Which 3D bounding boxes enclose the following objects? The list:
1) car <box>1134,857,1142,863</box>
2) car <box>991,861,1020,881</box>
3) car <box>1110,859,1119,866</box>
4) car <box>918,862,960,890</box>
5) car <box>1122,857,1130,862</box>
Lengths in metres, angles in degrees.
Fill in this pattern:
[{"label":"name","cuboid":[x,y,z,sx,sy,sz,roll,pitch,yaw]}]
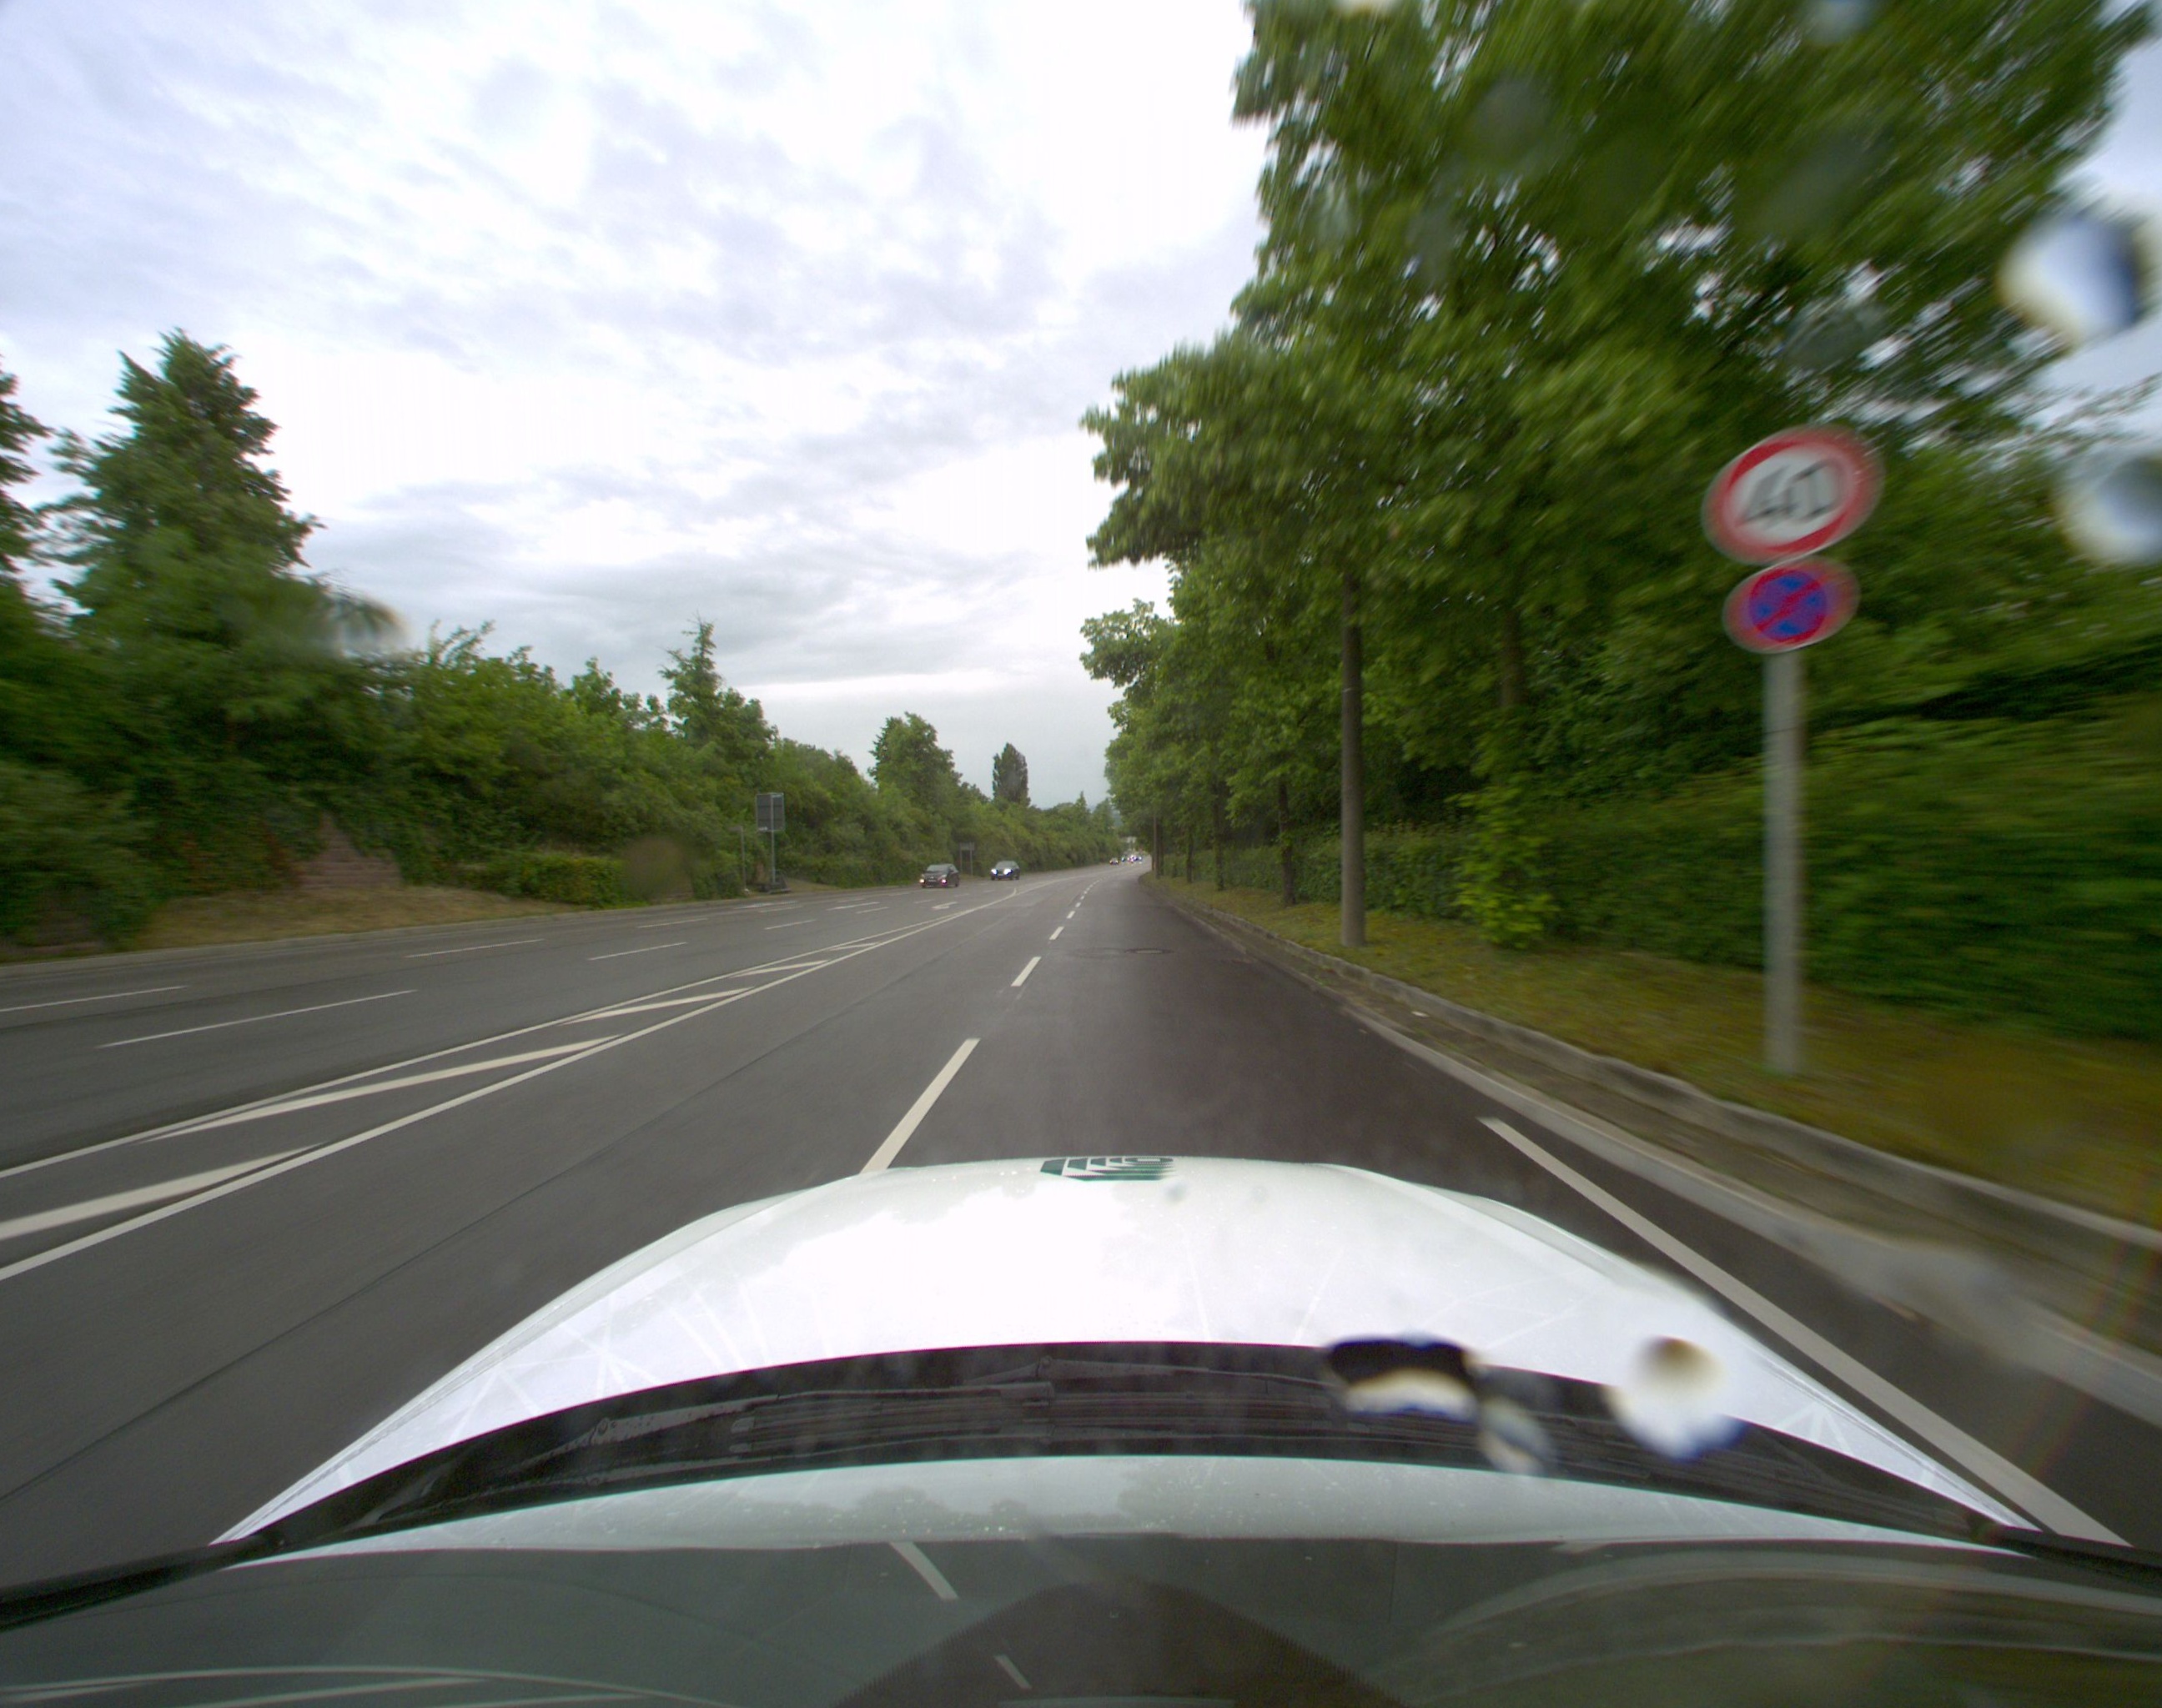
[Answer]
[{"label":"car","cuboid":[15.743,1.613,223.345,1.854,1.464,3.901,1,-1,8]},{"label":"car","cuboid":[-6.490,1.432,70.400,1.856,1.589,3.897,1,-1,5]},{"label":"car","cuboid":[7.205,1.844,175.703,1.856,1.464,3.897,1,-1,5]},{"label":"car","cuboid":[-8.700,1.325,50.206,1.718,1.565,3.895,1,0,2]},{"label":"car","cuboid":[12.196,1.506,220.378,1.854,1.464,3.901,1,-1,8]}]
